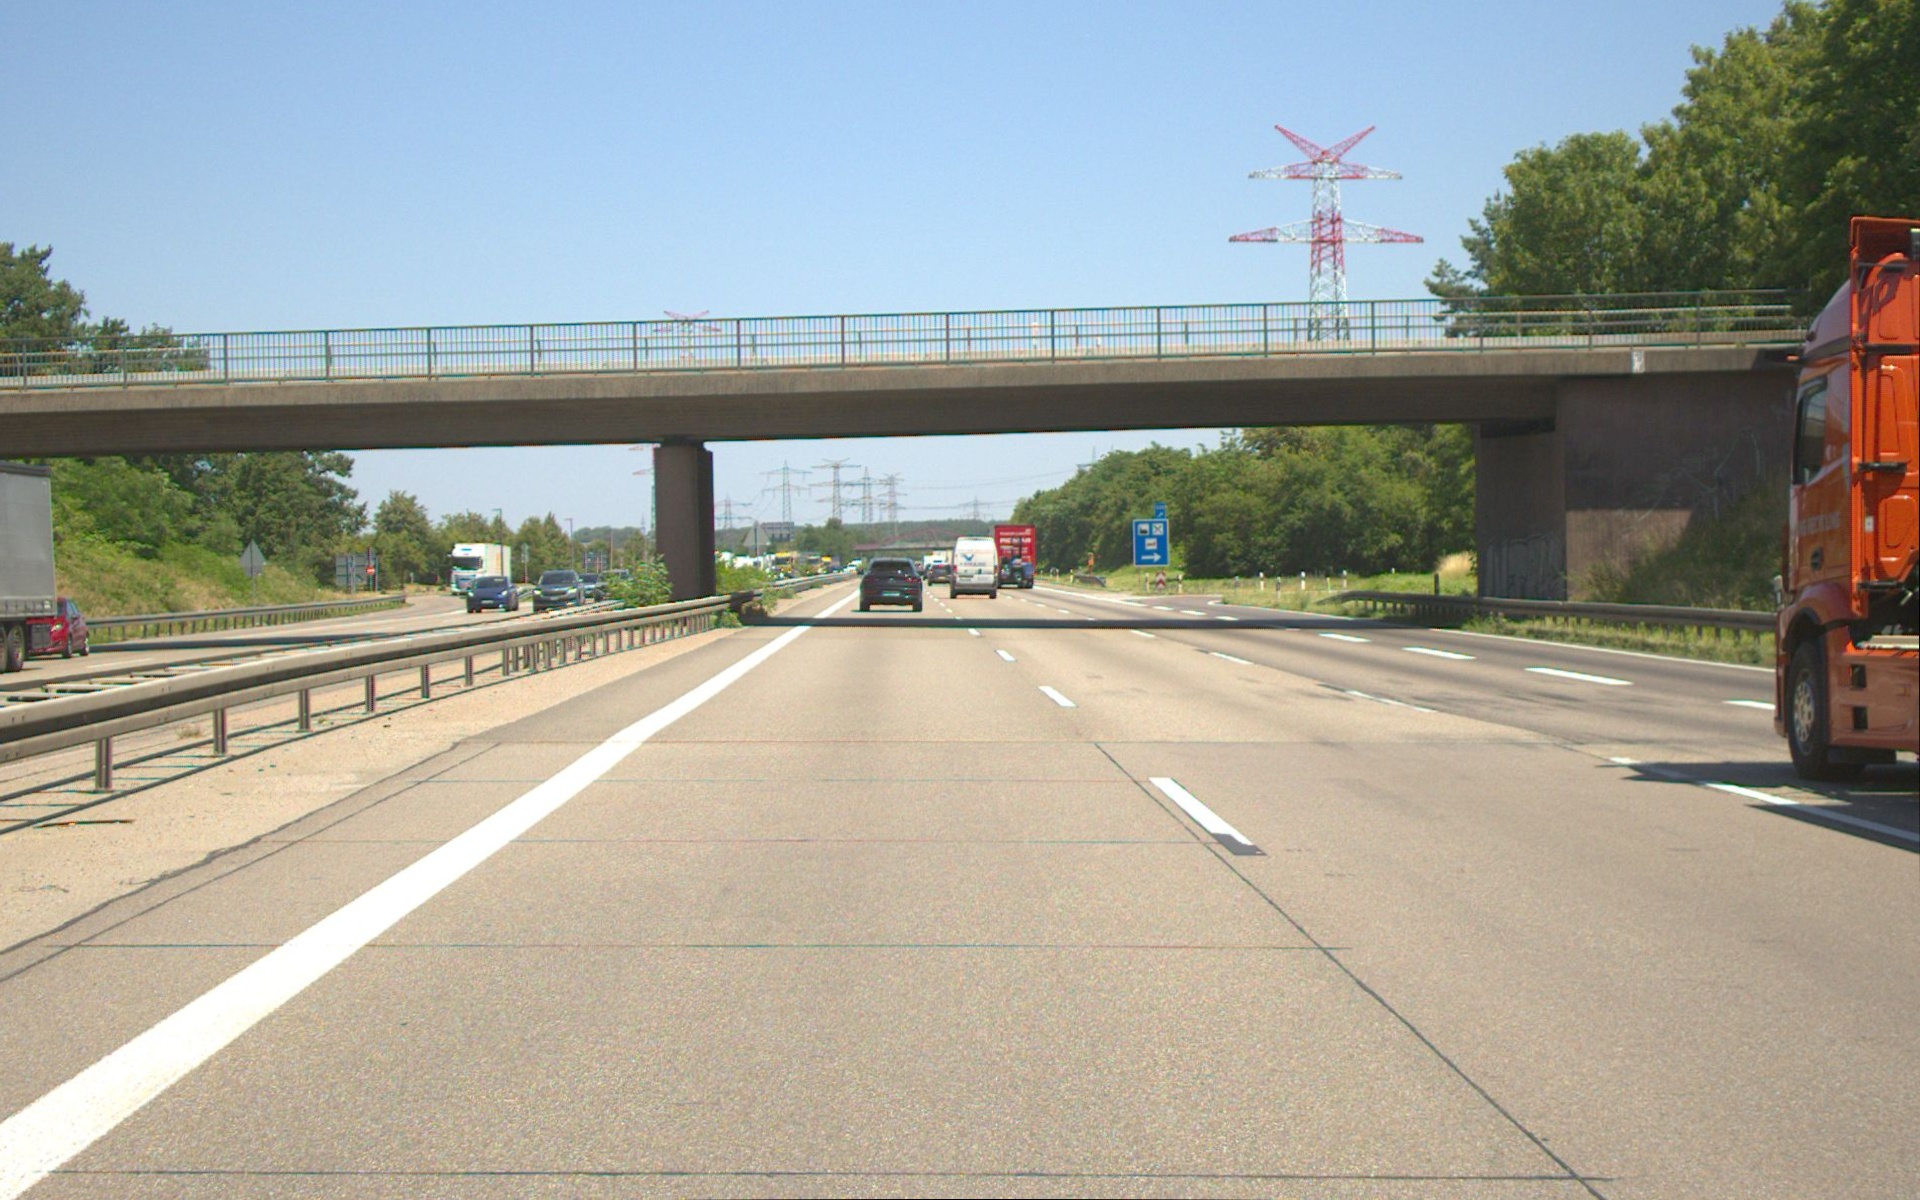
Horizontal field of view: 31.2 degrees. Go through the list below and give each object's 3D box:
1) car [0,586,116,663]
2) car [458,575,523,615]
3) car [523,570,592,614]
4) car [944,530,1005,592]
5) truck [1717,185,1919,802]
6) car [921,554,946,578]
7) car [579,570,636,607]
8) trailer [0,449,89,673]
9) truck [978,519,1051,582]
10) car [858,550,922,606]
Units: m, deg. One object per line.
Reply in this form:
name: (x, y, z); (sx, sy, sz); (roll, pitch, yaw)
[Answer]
car: (-21.223, 0.548, 79.569); (2.227, 1.605, 4.788); (-3, 1, -1)
car: (-20.738, -0.224, 151.946); (2.227, 1.605, 5.060); (-3, 1, -1)
car: (-16.174, -0.325, 138.414); (2.227, 1.605, 5.060); (-3, 1, -1)
car: (0.641, -1.813, 157.142); (2.621, 2.749, 6.097); (1, 1, -1)
truck: (7.235, -0.627, 19.983); (2.681, 3.785, 12.479); (1, 1, -1)
car: (-1.922, -2.440, 245.733); (1.747, 1.628, 4.004); (1, 1, -1)
car: (-16.793, -0.577, 163.960); (2.227, 1.605, 5.060); (-3, 1, -1)
trailer: (-19.055, -0.639, 62.411); (2.949, 4.094, 14.104); (-3, 1, -1)
truck: (3.447, -3.222, 222.646); (4.331, 3.928, 16.078); (1, 1, 0)
car: (-2.253, -0.710, 110.525); (1.993, 1.744, 4.000); (1, 1, -1)
